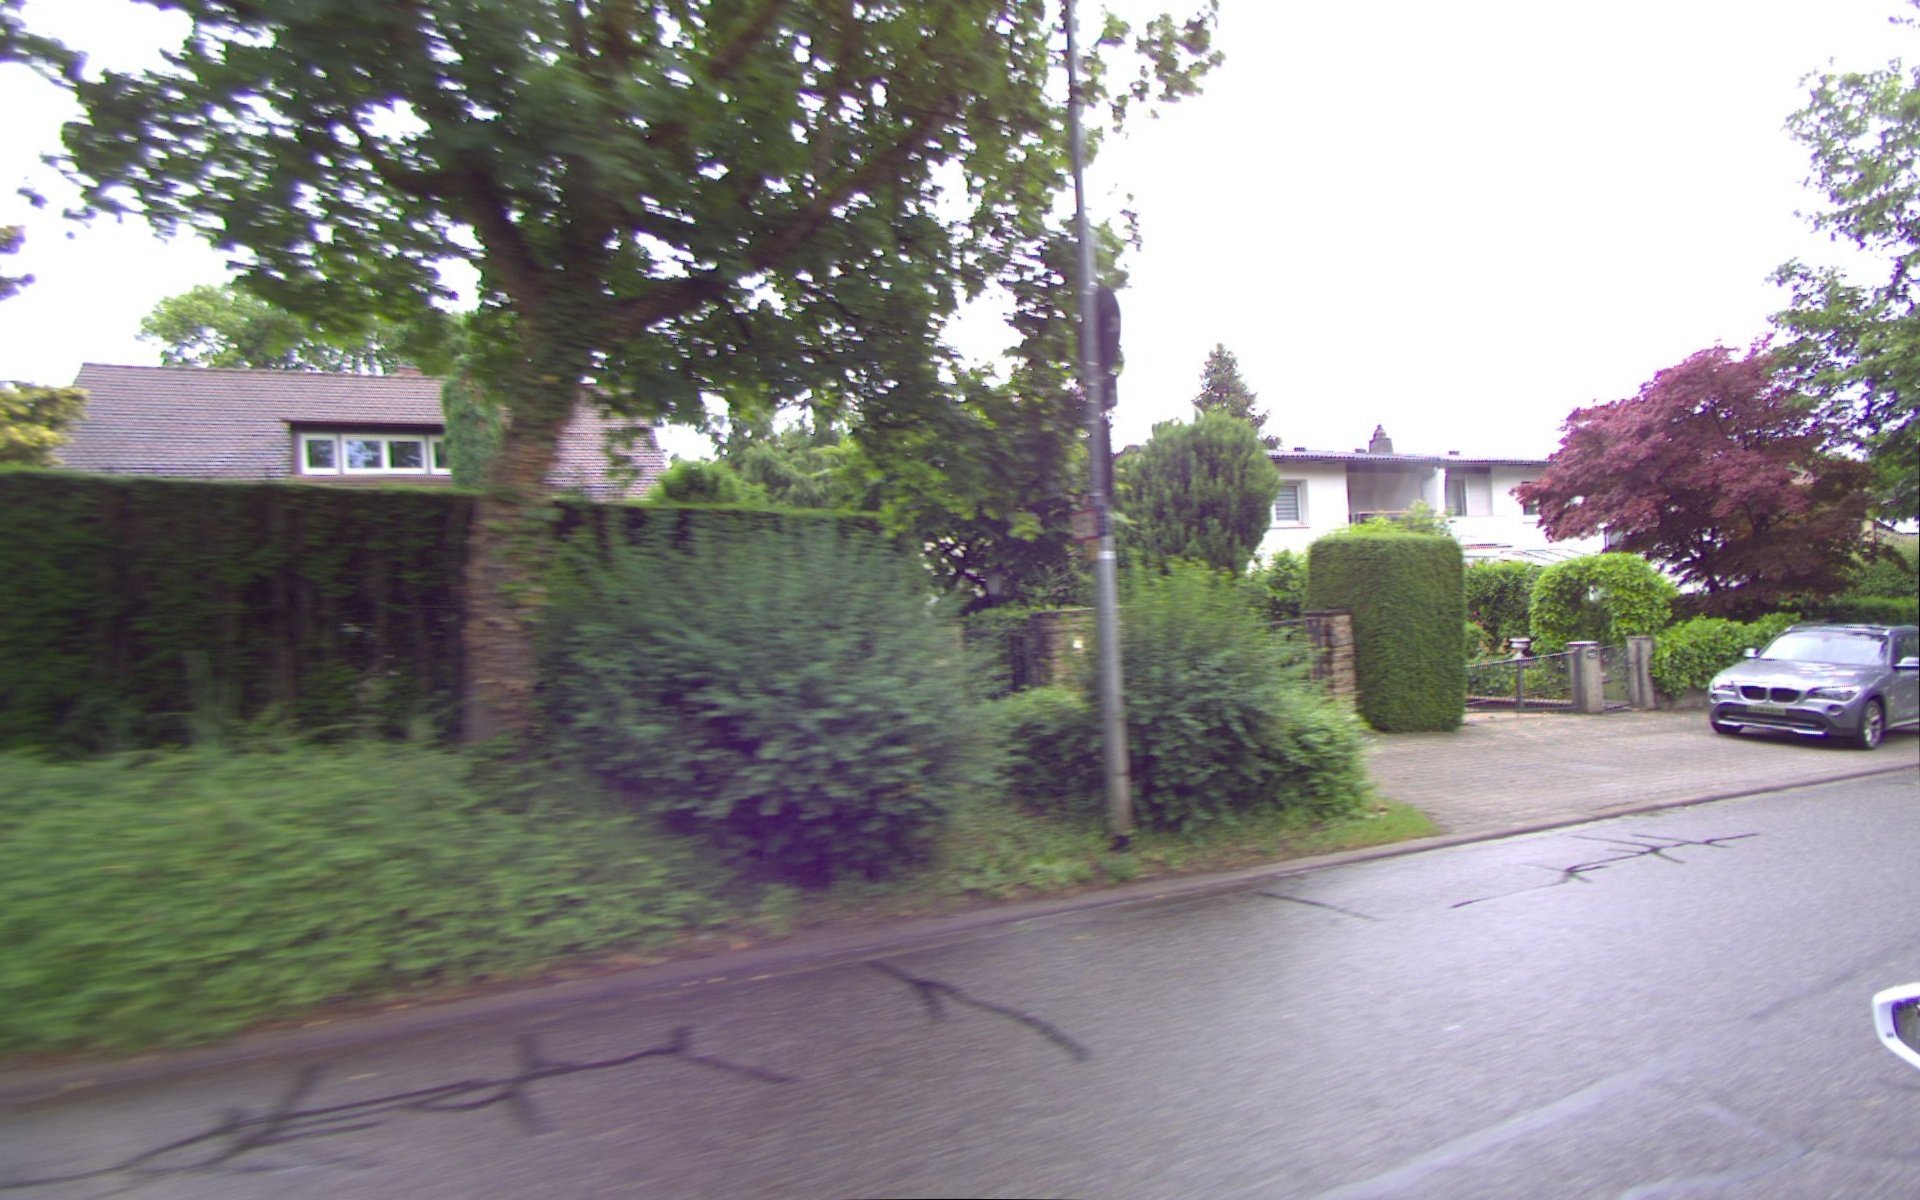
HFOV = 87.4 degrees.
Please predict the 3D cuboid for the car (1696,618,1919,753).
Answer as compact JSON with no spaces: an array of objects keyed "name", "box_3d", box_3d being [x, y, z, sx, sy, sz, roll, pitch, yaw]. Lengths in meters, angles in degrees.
[{"name":"car","box_3d":[12.371,1.089,14.146,4.233,1.563,1.655,0,2,-30]}]
